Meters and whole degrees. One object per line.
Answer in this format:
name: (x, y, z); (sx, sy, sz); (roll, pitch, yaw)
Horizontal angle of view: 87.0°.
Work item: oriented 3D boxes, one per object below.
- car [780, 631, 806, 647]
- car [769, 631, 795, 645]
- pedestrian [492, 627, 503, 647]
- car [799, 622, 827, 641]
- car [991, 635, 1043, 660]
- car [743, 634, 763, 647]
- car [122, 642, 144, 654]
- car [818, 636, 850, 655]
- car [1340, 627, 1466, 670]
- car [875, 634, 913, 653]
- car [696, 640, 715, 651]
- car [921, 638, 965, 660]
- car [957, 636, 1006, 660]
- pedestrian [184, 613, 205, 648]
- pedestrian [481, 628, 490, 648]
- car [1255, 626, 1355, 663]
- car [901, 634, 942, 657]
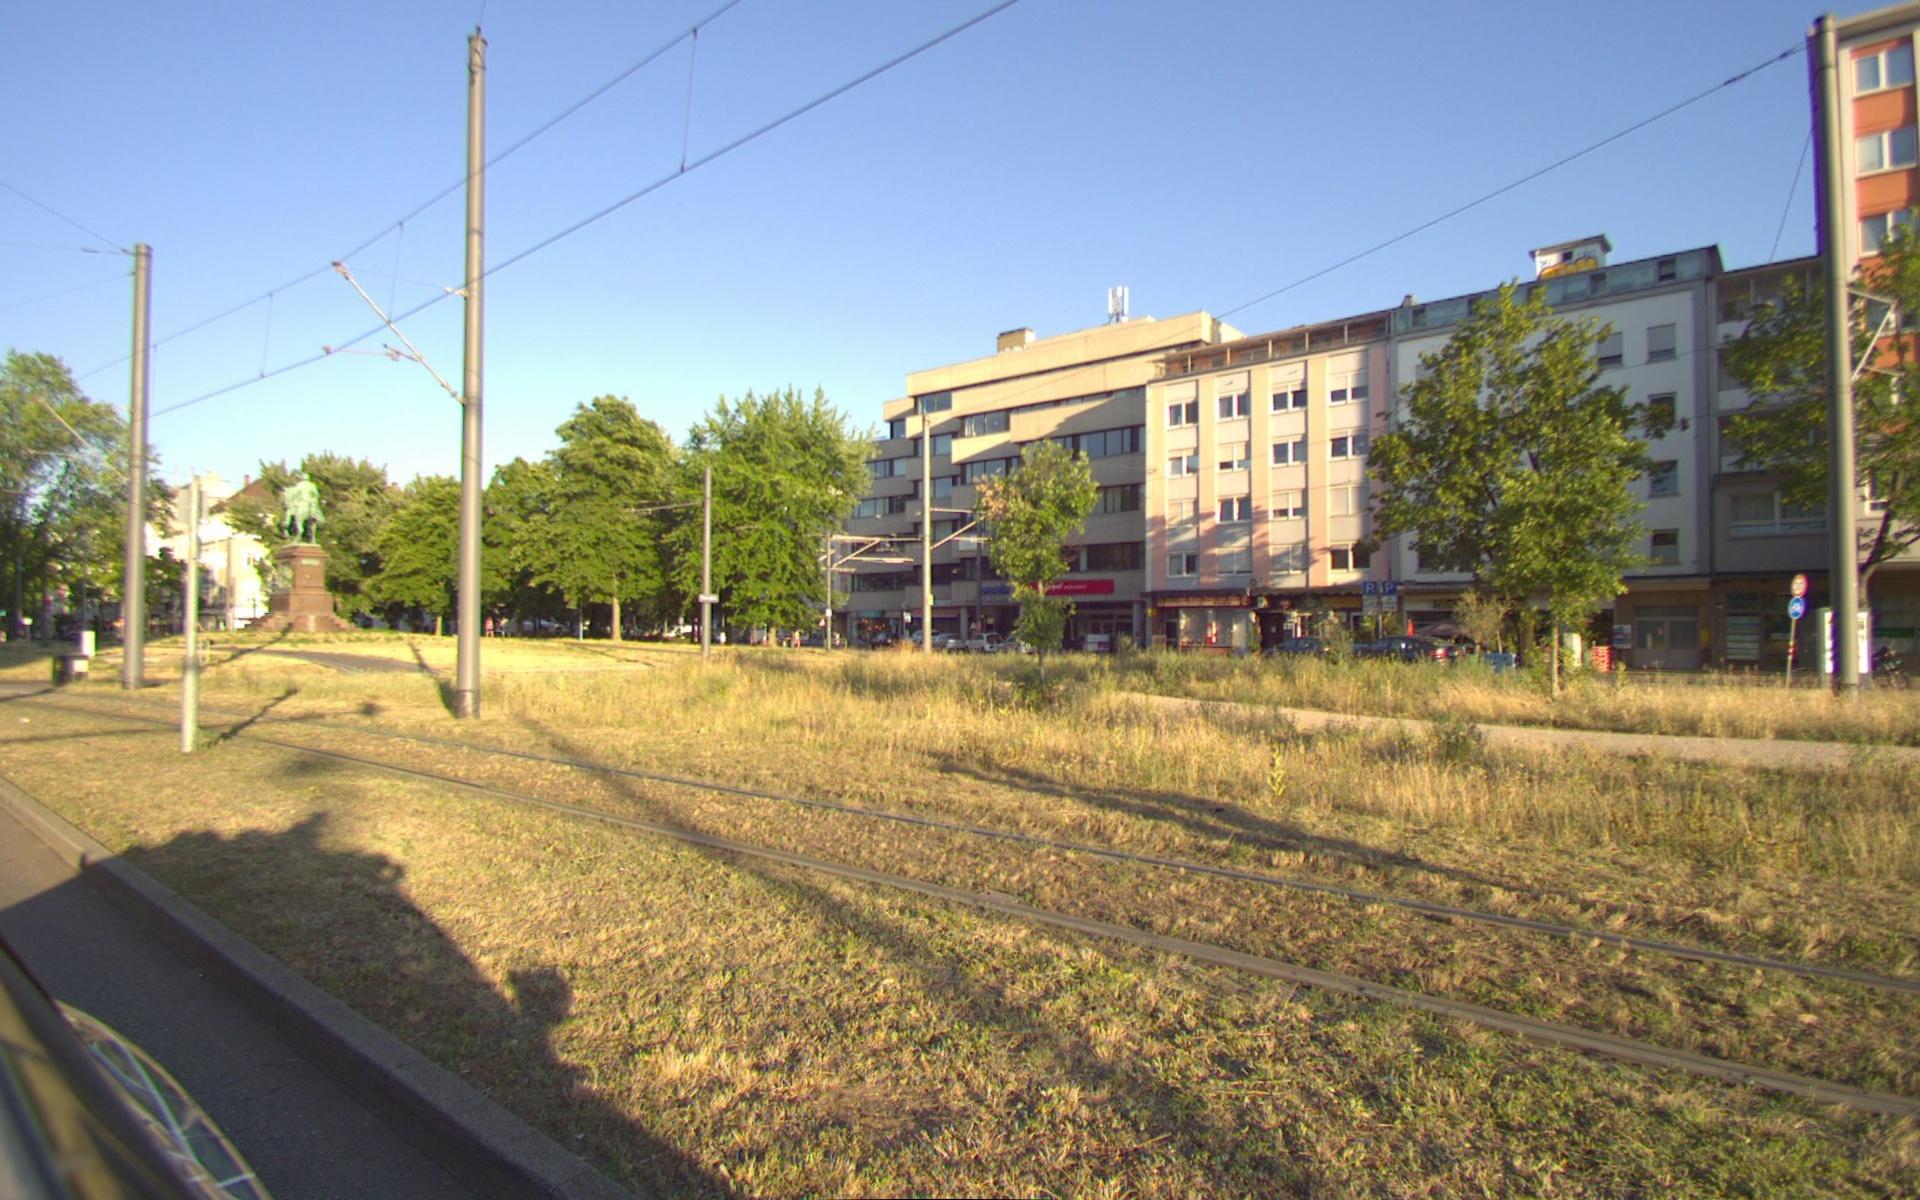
car: (-18.919, 4.454, 114.716); (1.729, 1.676, 4.012); (0, -3, -27)
car: (-18.987, 4.047, 107.771); (1.681, 1.401, 4.013); (0, -3, -25)
pedestrian: (-36.735, 2.962, 80.347); (0.553, 1.593, 0.611); (-4, -4, 42)
car: (-15.636, 3.339, 107.438); (1.729, 1.959, 4.222); (0, -3, -27)
car: (3.729, 3.128, 66.591); (1.729, 1.564, 4.013); (0, -3, -24)
car: (-26.760, 5.197, 130.985); (1.766, 1.592, 4.013); (0, -3, -23)
car: (-113.948, 6.597, 139.477); (3.965, 1.564, 1.701); (-3, -4, 41)
car: (-12.654, 4.529, 101.362); (1.906, 1.808, 4.222); (0, -3, -27)
car: (17.012, 1.895, 39.105); (1.729, 1.538, 4.305); (0, -3, -27)
car: (-5.723, 3.783, 87.459); (1.833, 1.569, 4.081); (0, -3, -27)
car: (-36.993, 6.602, 147.166); (1.833, 1.569, 4.081); (0, -3, -27)
car: (-1.286, 3.704, 76.476); (1.729, 1.564, 4.012); (0, -3, -27)
car: (1.491, 3.395, 71.209); (1.729, 1.564, 4.012); (0, -3, -27)
pedestrian: (-37.930, 1.504, 50.123); (0.831, 1.703, 0.472); (-2, -3, 26)
pedestrian: (-37.499, 2.992, 79.975); (0.553, 1.524, 0.448); (-4, -4, 42)
car: (14.898, 1.953, 43.881); (1.729, 1.538, 4.012); (0, -3, -27)
car: (-3.132, 3.666, 81.693); (1.729, 1.808, 4.222); (0, -3, -27)
